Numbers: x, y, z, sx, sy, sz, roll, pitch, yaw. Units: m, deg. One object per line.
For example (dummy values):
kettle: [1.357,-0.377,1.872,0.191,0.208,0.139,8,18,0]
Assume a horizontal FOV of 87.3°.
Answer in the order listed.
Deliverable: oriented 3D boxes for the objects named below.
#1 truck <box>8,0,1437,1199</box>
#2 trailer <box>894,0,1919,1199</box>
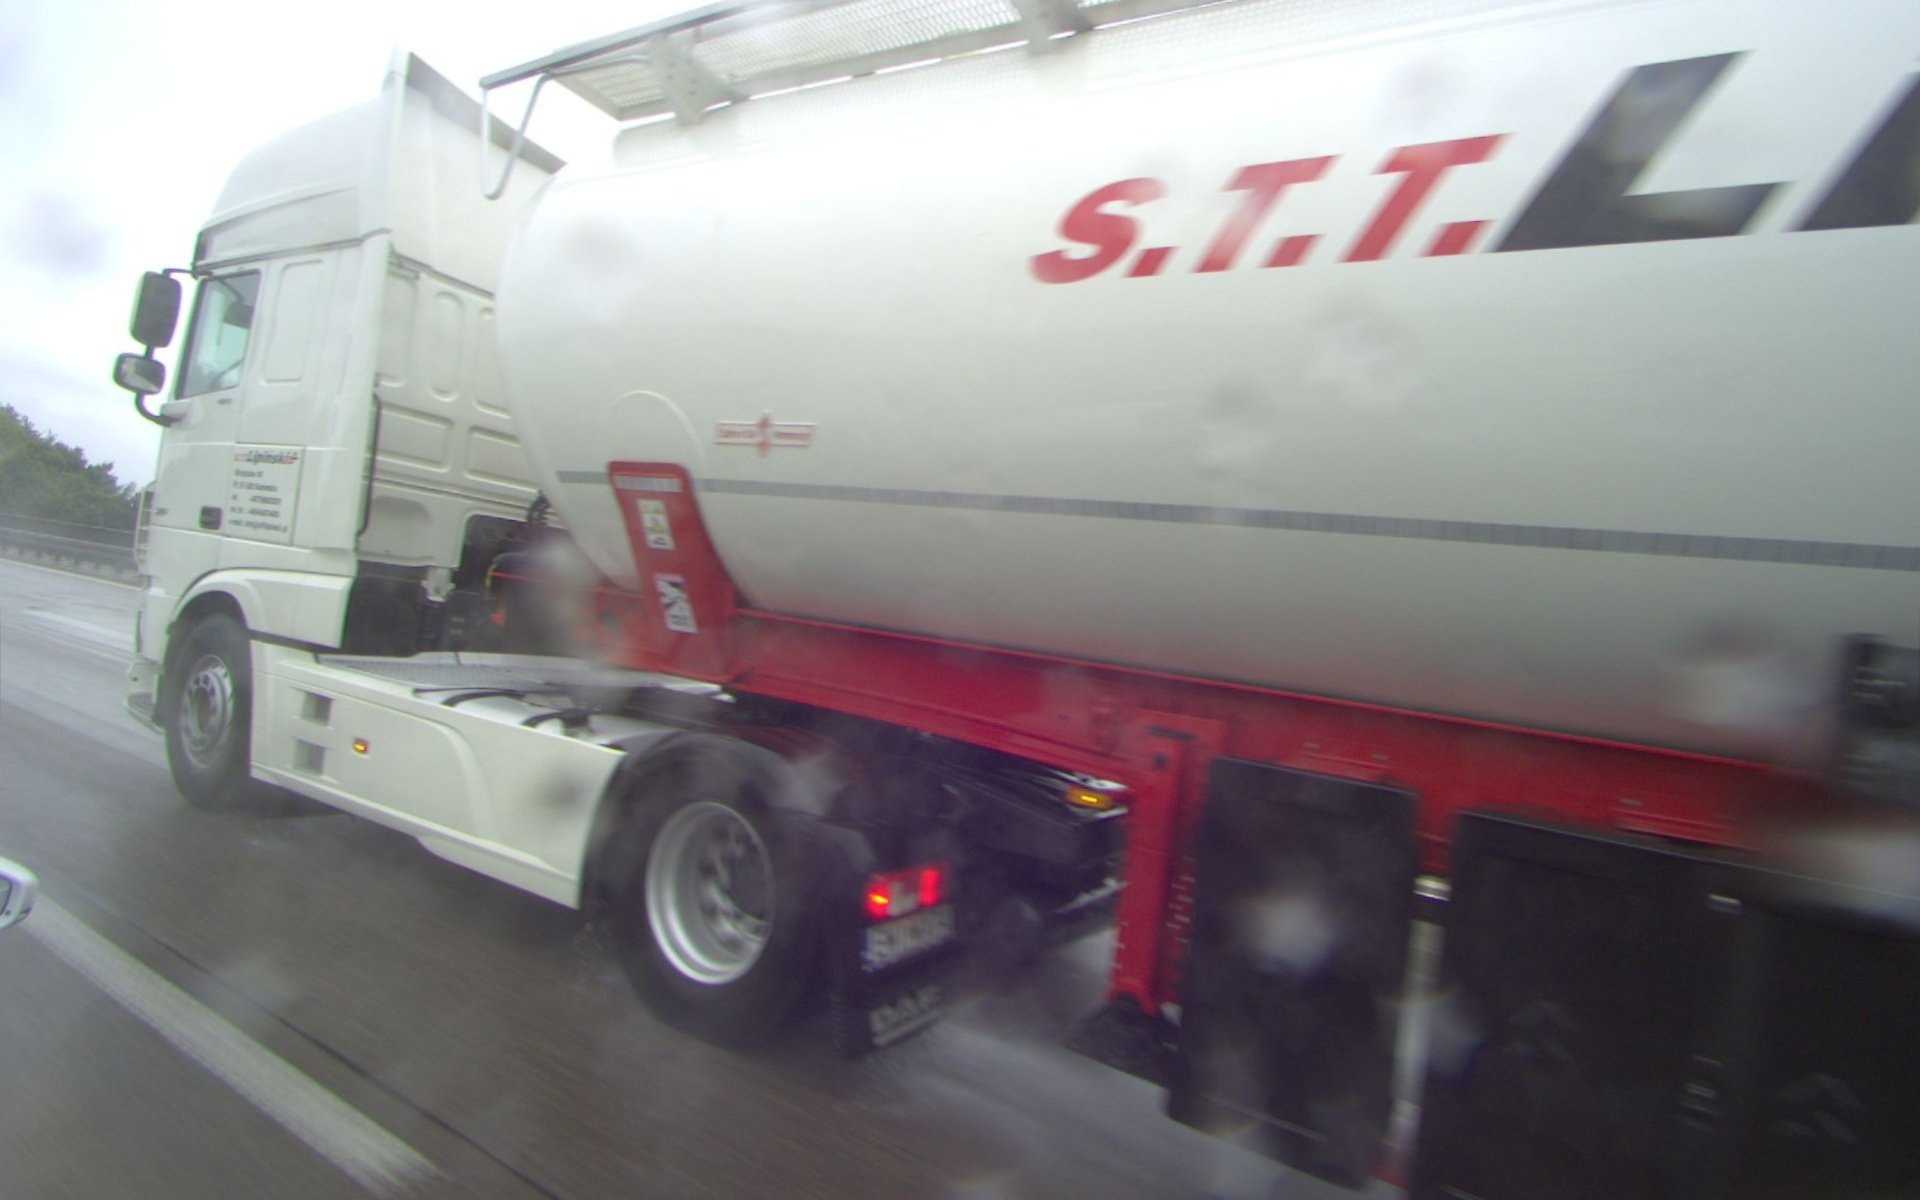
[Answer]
truck: [-1.621,-0.544,5.532,7.091,3.851,3.111,7,-1,31]
trailer: [5.729,0.322,1.057,11.472,3.712,3.195,7,-1,31]
